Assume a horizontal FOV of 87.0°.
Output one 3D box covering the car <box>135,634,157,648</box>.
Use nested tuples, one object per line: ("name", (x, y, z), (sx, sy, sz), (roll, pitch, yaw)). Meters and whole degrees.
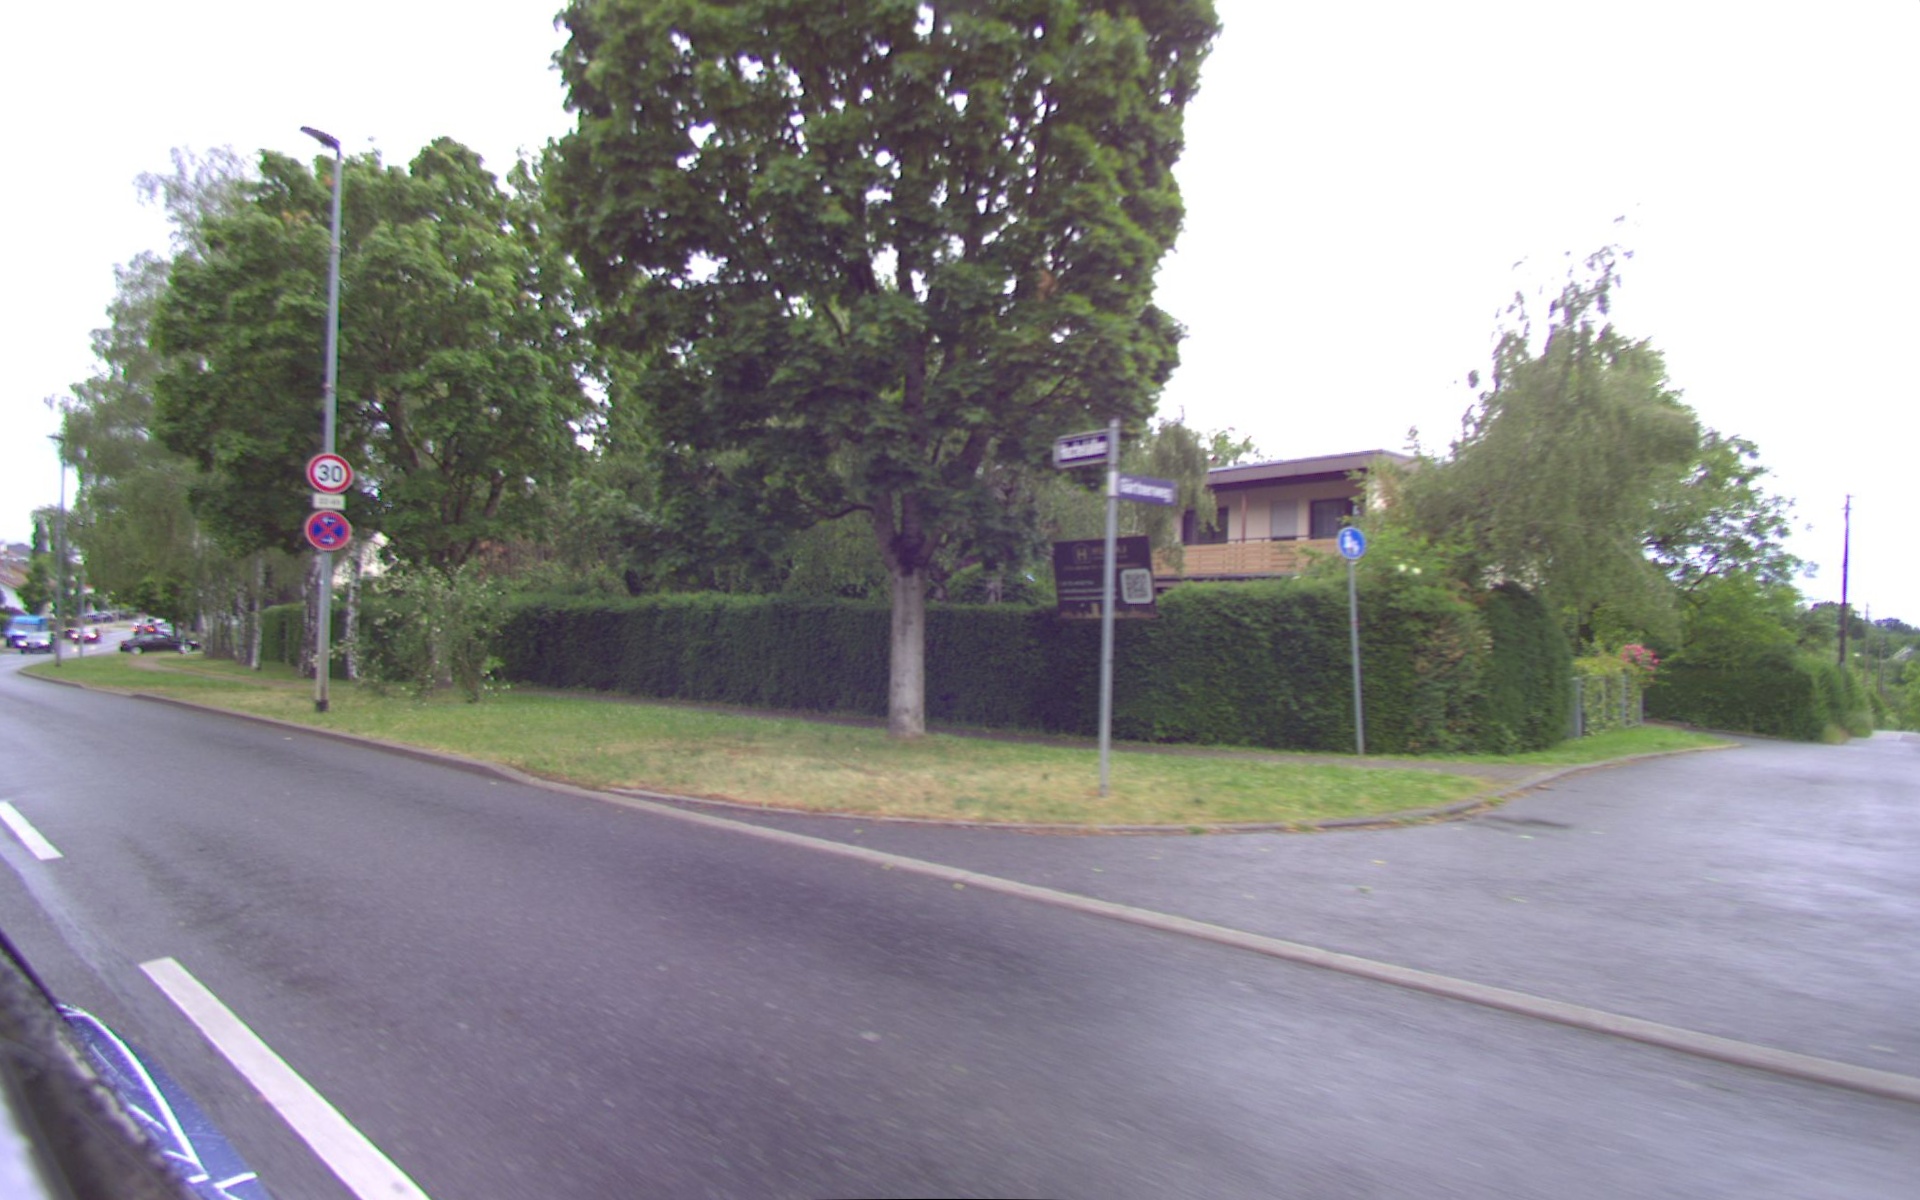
("car", (-87.640, 4.402, 108.937), (1.733, 1.452, 4.163), (-1, -2, -40))

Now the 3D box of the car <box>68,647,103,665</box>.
("car", (-82.902, 5.277, 95.954), (1.865, 1.552, 4.011), (-1, -1, -32))

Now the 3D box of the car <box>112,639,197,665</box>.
("car", (-55.221, 3.572, 69.461), (4.368, 1.428, 1.760), (-3, 0, -34))

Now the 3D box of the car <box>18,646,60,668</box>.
("car", (-71.821, 4.447, 78.966), (1.865, 1.552, 4.010), (-1, -1, -34))

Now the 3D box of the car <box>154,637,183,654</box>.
("car", (-80.303, 4.587, 102.724), (1.746, 1.619, 4.012), (1, -1, -31))

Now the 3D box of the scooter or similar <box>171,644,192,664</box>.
("scooter or similar", (-47.460, 3.260, 61.715), (0.418, 1.167, 1.494), (-2, -2, -14))

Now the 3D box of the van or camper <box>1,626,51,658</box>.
("van or camper", (-80.497, 3.581, 87.311), (2.114, 2.628, 5.798), (3, -2, -33))
